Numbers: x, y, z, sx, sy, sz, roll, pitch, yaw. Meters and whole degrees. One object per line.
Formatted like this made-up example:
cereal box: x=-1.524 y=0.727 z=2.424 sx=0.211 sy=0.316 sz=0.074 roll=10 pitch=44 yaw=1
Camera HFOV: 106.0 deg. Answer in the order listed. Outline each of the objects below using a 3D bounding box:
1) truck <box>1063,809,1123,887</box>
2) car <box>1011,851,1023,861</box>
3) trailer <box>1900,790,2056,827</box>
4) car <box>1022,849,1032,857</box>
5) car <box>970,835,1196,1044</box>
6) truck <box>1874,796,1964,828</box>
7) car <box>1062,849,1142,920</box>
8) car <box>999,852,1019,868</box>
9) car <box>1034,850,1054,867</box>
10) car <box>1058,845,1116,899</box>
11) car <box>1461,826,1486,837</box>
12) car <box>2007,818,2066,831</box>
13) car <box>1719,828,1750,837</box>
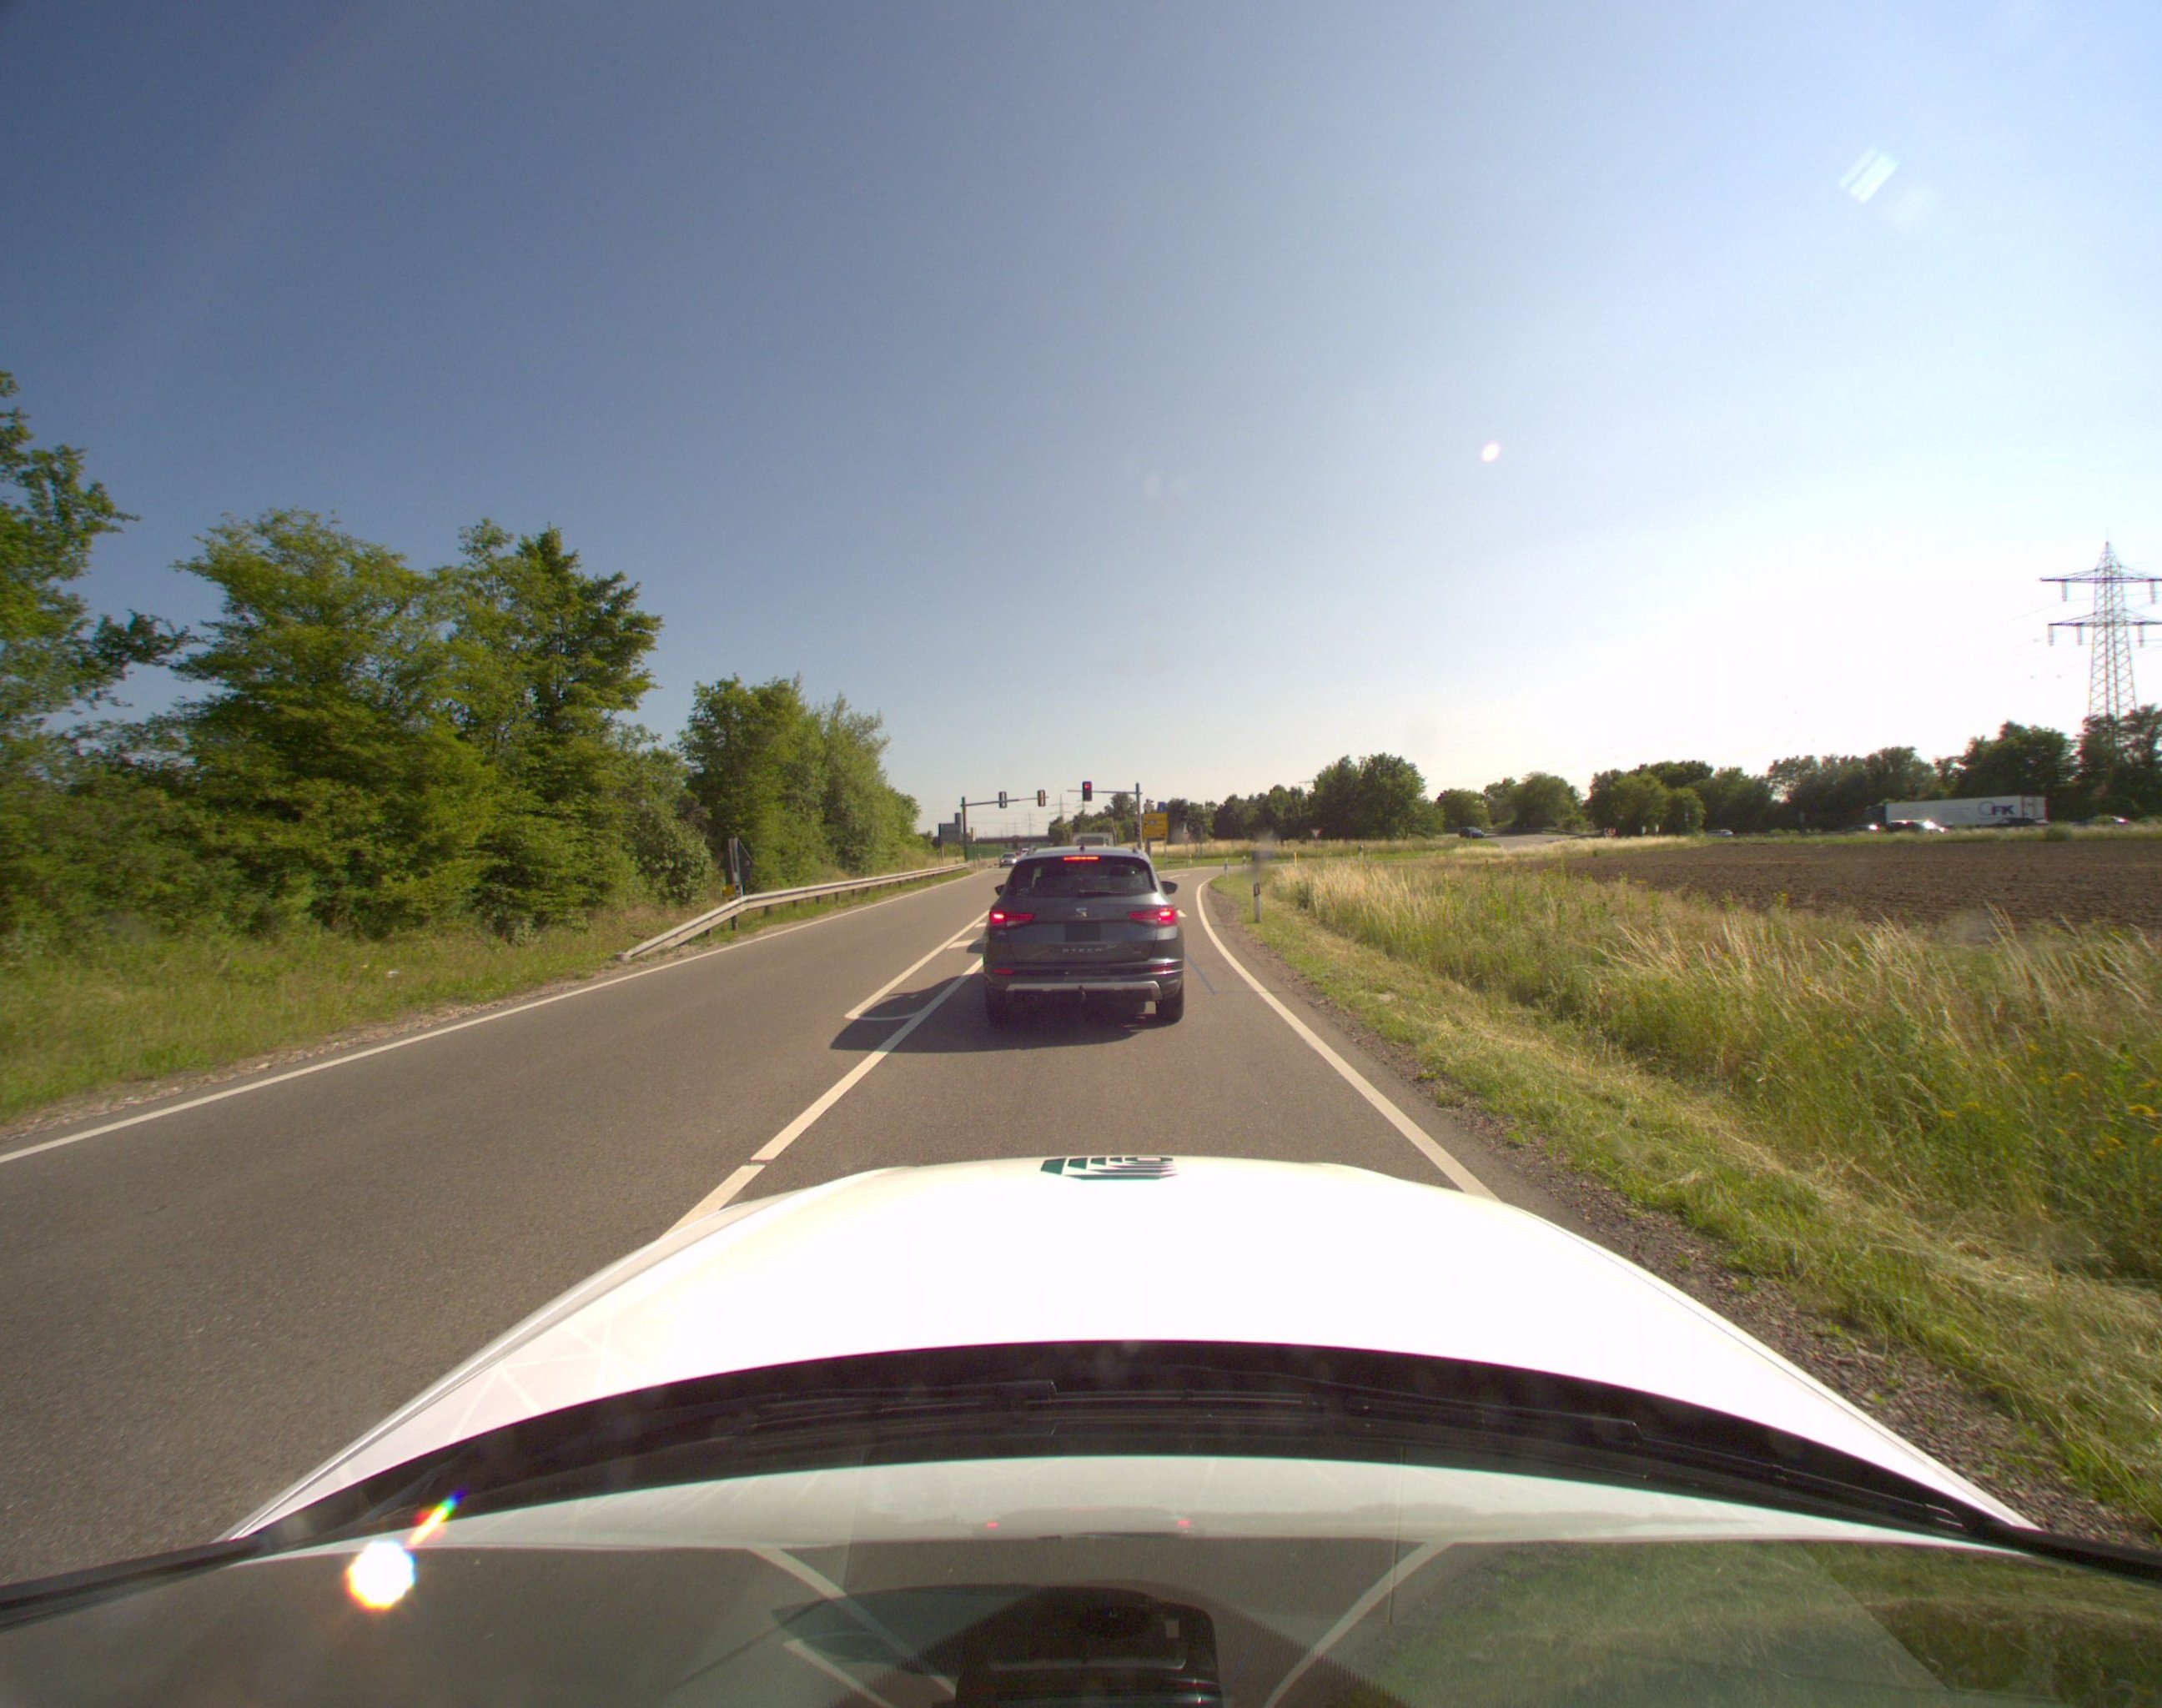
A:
truck: x=0.521 y=-0.233 z=35.449 sx=2.329 sy=3.066 sz=5.809 roll=-1 pitch=0 yaw=1
car: x=-9.688 y=0.353 z=124.239 sx=1.758 sy=1.431 sz=3.994 roll=-2 pitch=0 yaw=-4
trailer: x=99.006 y=-4.926 z=90.392 sx=3.275 sy=3.267 sz=12.449 roll=-3 pitch=0 yaw=-1
car: x=-12.803 y=-0.271 z=192.296 sx=1.961 sy=1.952 sz=4.987 roll=-2 pitch=0 yaw=-6
car: x=0.000 y=0.673 z=8.615 sx=1.780 sy=1.629 sz=3.999 roll=-2 pitch=1 yaw=-1
truck: x=98.853 y=-4.930 z=96.249 sx=3.275 sy=3.267 sz=6.975 roll=-3 pitch=0 yaw=-2
car: x=0.468 y=0.691 z=20.729 sx=1.780 sy=1.543 sz=3.999 roll=-2 pitch=1 yaw=-1
car: x=-7.132 y=0.583 z=80.624 sx=1.821 sy=1.431 sz=3.994 roll=-2 pitch=0 yaw=-4
car: x=-3.562 y=0.393 z=78.390 sx=1.813 sy=1.540 sz=3.994 roll=-2 pitch=0 yaw=-4
car: x=0.159 y=0.551 z=27.755 sx=1.780 sy=1.675 sz=3.999 roll=-2 pitch=1 yaw=-1
car: x=53.780 y=-3.132 z=111.682 sx=1.593 sy=1.392 sz=3.625 roll=-2 pitch=0 yaw=-3
car: x=91.428 y=-2.778 z=77.984 sx=1.391 sy=1.151 sz=3.578 roll=-1 pitch=1 yaw=-3
car: x=91.882 y=-3.048 z=114.585 sx=1.391 sy=1.151 sz=3.578 roll=-1 pitch=1 yaw=-3
